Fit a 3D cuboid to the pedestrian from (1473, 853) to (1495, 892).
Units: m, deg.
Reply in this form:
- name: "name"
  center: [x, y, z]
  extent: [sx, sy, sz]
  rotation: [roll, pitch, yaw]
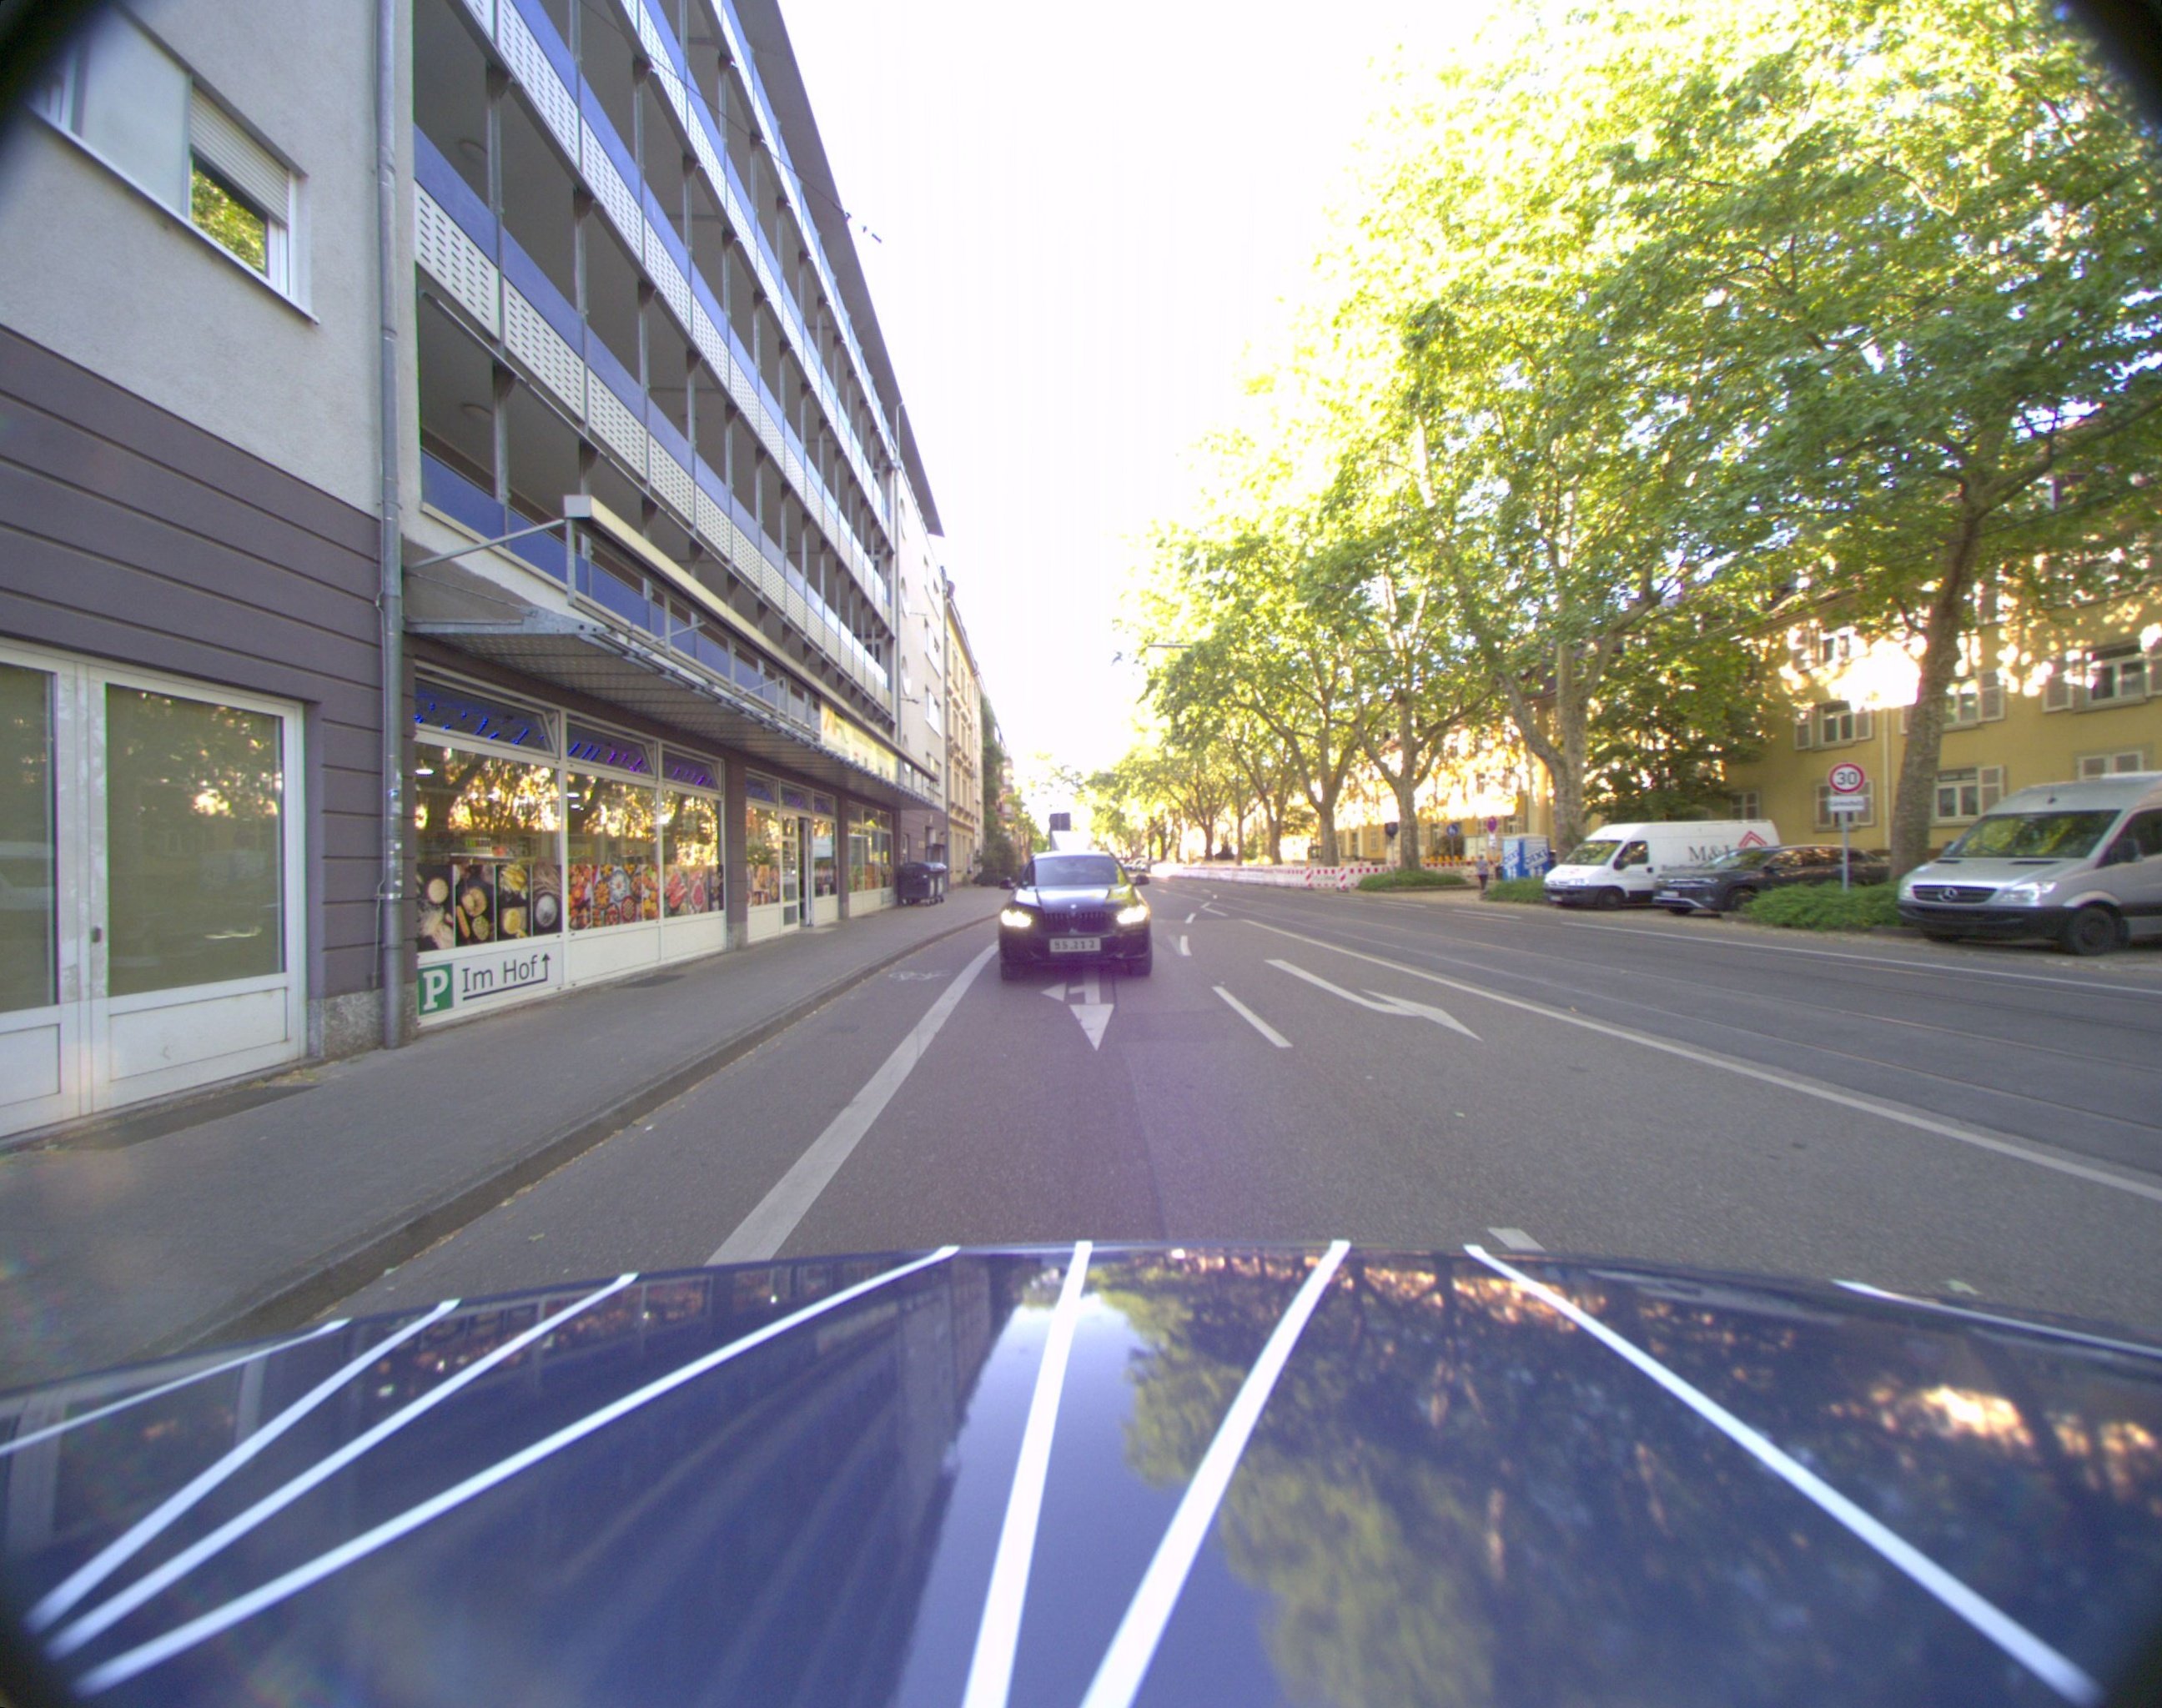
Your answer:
- name: "pedestrian"
  center: [16.789, 0.765, 31.621]
  extent: [0.719, 1.563, 0.595]
  rotation: [-1, 0, -43]

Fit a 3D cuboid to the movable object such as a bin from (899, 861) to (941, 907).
- name: "movable object such as a bin"
  center: [-5.235, 0.968, 24.792]
  extent: [1.069, 1.438, 1.296]
  rotation: [-1, 0, -1]

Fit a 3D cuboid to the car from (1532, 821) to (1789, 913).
- name: "car"
  center: [15.845, 0.337, 20.977]
  extent: [5.612, 2.361, 2.025]
  rotation: [-1, 0, -2]

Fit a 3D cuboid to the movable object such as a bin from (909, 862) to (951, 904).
- name: "movable object such as a bin"
  center: [-5.294, 1.004, 26.688]
  extent: [1.122, 1.437, 1.306]
  rotation: [-1, 0, 4]

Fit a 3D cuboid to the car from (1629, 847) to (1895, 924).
- name: "car"
  center: [15.932, 0.715, 17.950]
  extent: [4.575, 1.621, 1.969]
  rotation: [-1, 0, -2]

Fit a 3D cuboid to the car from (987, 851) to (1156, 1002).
- name: "car"
  center: [-0.091, 0.872, 11.238]
  extent: [1.943, 1.733, 4.475]
  rotation: [-2, 0, 1]

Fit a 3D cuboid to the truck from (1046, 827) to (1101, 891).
- name: "truck"
  center: [-0.578, 0.277, 43.137]
  extent: [2.385, 3.165, 8.525]
  rotation: [2, 0, -5]

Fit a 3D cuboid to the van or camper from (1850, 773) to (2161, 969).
- name: "van or camper"
  center: [16.081, 0.175, 11.778]
  extent: [6.127, 2.661, 2.229]
  rotation: [-2, 0, -2]

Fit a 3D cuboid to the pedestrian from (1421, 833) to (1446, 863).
- name: "pedestrian"
  center: [24.187, -0.416, 52.200]
  extent: [1.098, 2.002, 1.235]
  rotation: [-1, 0, -4]
